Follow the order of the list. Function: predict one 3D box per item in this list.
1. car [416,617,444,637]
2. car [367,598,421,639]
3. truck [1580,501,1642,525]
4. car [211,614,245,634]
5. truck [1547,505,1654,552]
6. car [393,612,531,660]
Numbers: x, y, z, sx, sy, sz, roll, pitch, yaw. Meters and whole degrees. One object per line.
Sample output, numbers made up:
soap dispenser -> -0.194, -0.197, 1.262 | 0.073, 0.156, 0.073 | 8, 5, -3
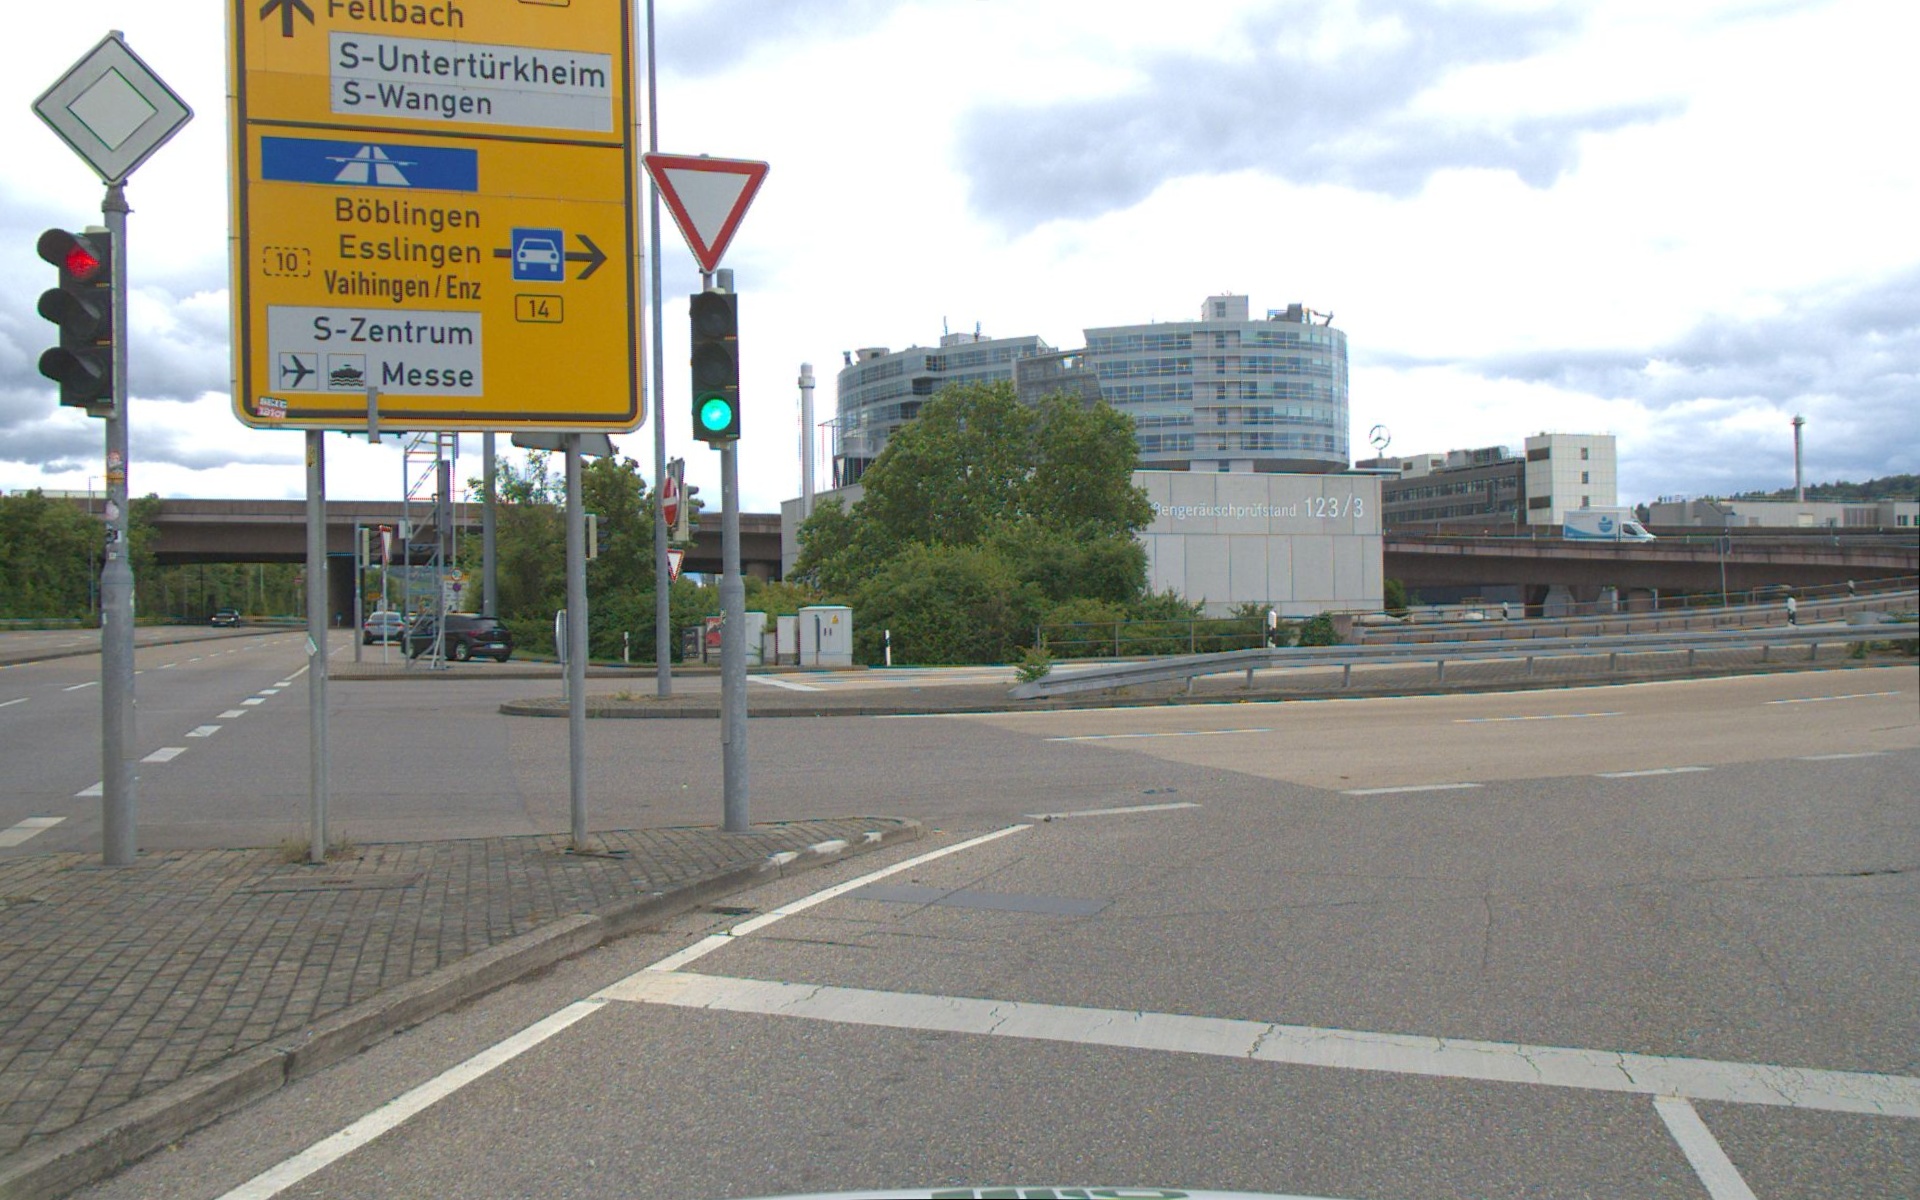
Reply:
car -> -41.737, 2.161, 130.243 | 1.961, 1.490, 4.091 | 1, -2, -16
car -> -25.422, 0.808, 74.393 | 1.877, 1.691, 4.728 | 3, 0, -15
truck -> 65.876, -8.757, 167.487 | 5.511, 2.201, 1.998 | 1, -1, -4
car -> -60.635, 1.986, 137.020 | 1.831, 1.407, 3.855 | 3, 1, -14
truck -> 48.600, -5.412, 125.649 | 7.206, 3.326, 2.320 | 1, -1, 38
car -> -15.551, 1.140, 51.655 | 3.904, 1.446, 1.912 | 0, -2, 28
